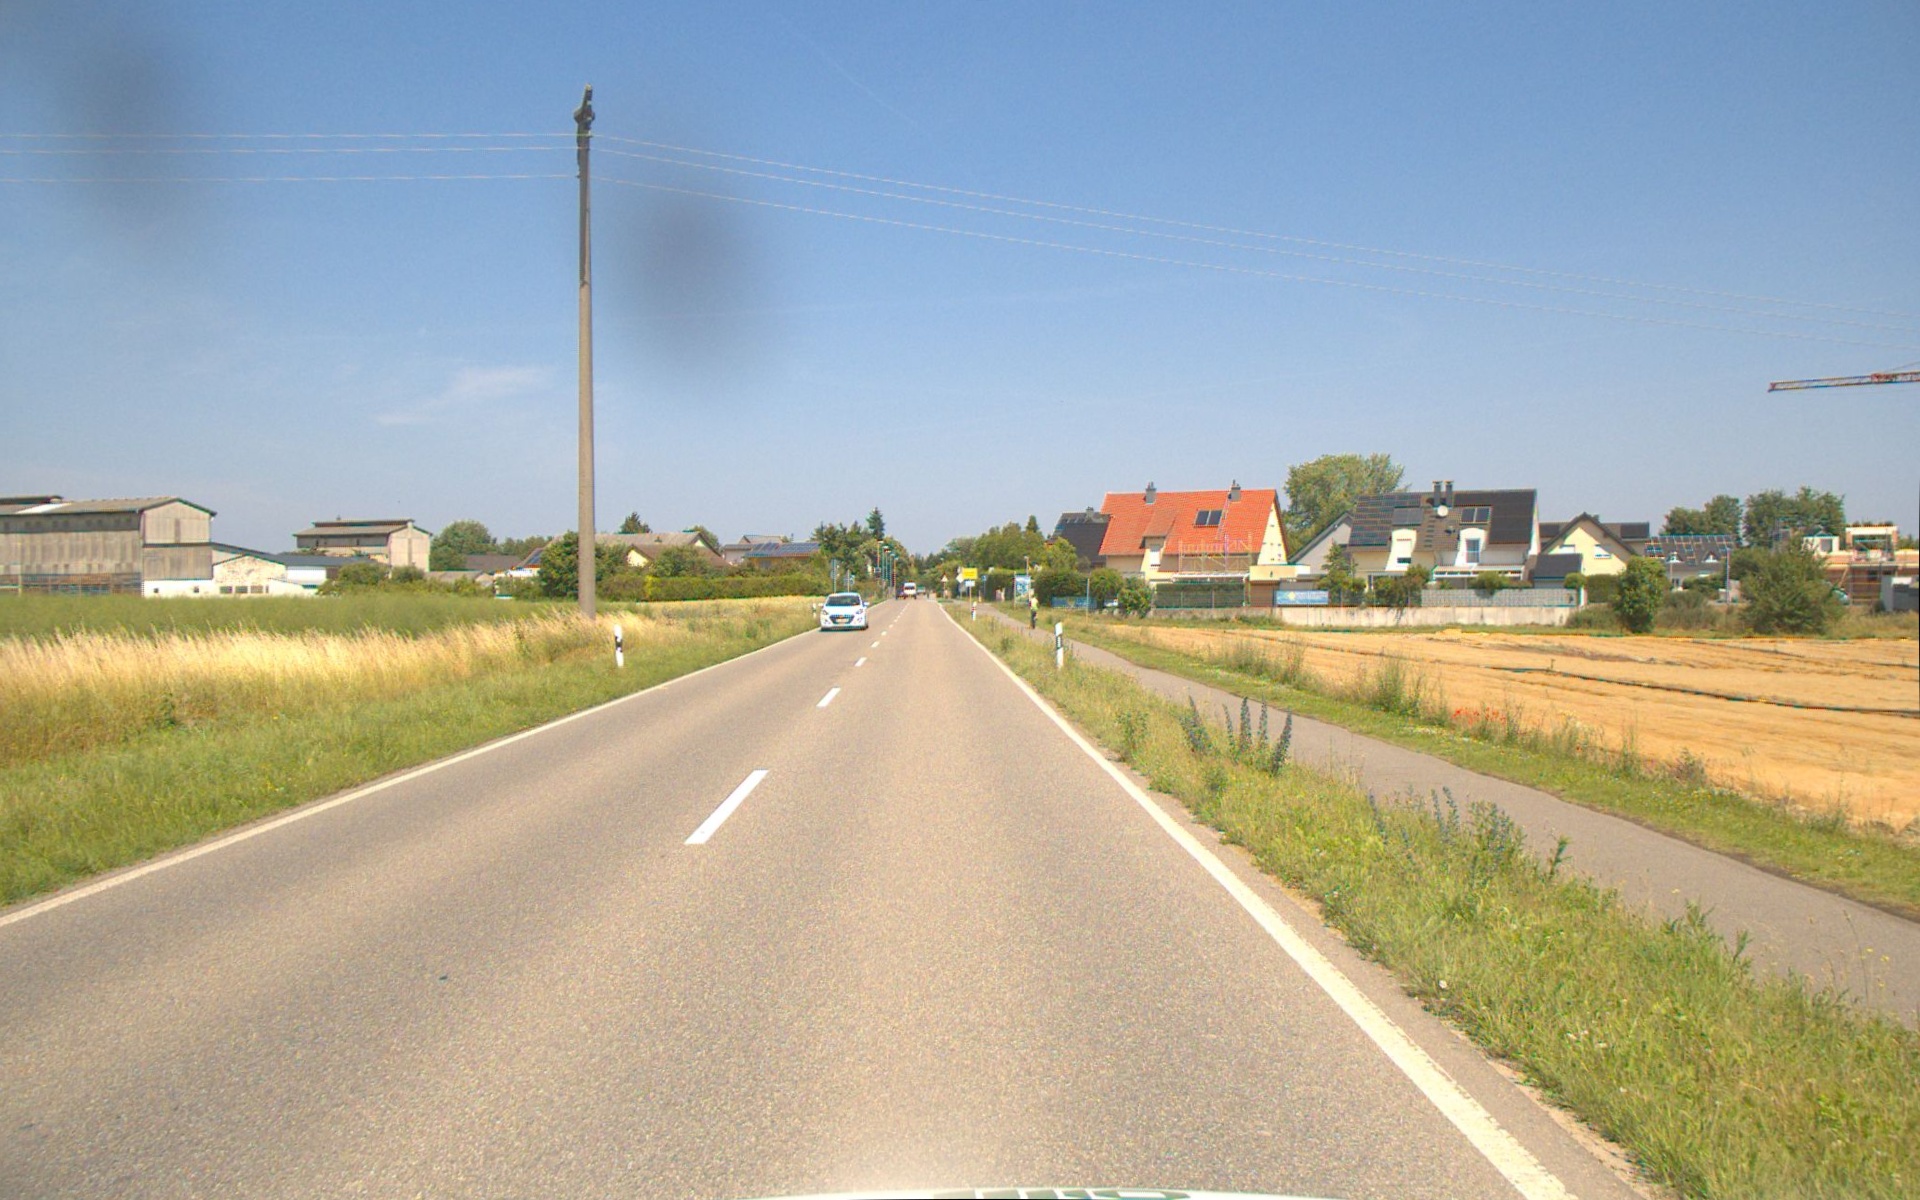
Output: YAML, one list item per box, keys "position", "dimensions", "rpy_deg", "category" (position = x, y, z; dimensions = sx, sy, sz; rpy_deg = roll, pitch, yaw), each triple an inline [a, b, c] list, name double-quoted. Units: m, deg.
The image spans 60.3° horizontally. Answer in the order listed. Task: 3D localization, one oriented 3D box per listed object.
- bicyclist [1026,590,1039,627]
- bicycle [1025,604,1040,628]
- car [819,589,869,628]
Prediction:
- position: [3.833, 0.462, 87.573]
  dimensions: [0.632, 1.922, 0.860]
  rpy_deg: [1, 1, -2]
  category: "bicyclist"
- position: [3.832, 0.844, 87.593]
  dimensions: [0.598, 1.179, 2.273]
  rpy_deg: [1, 1, -2]
  category: "bicycle"
- position: [-4.538, 0.326, 65.244]
  dimensions: [1.755, 1.434, 4.184]
  rpy_deg: [-1, 0, -2]
  category: "car"
